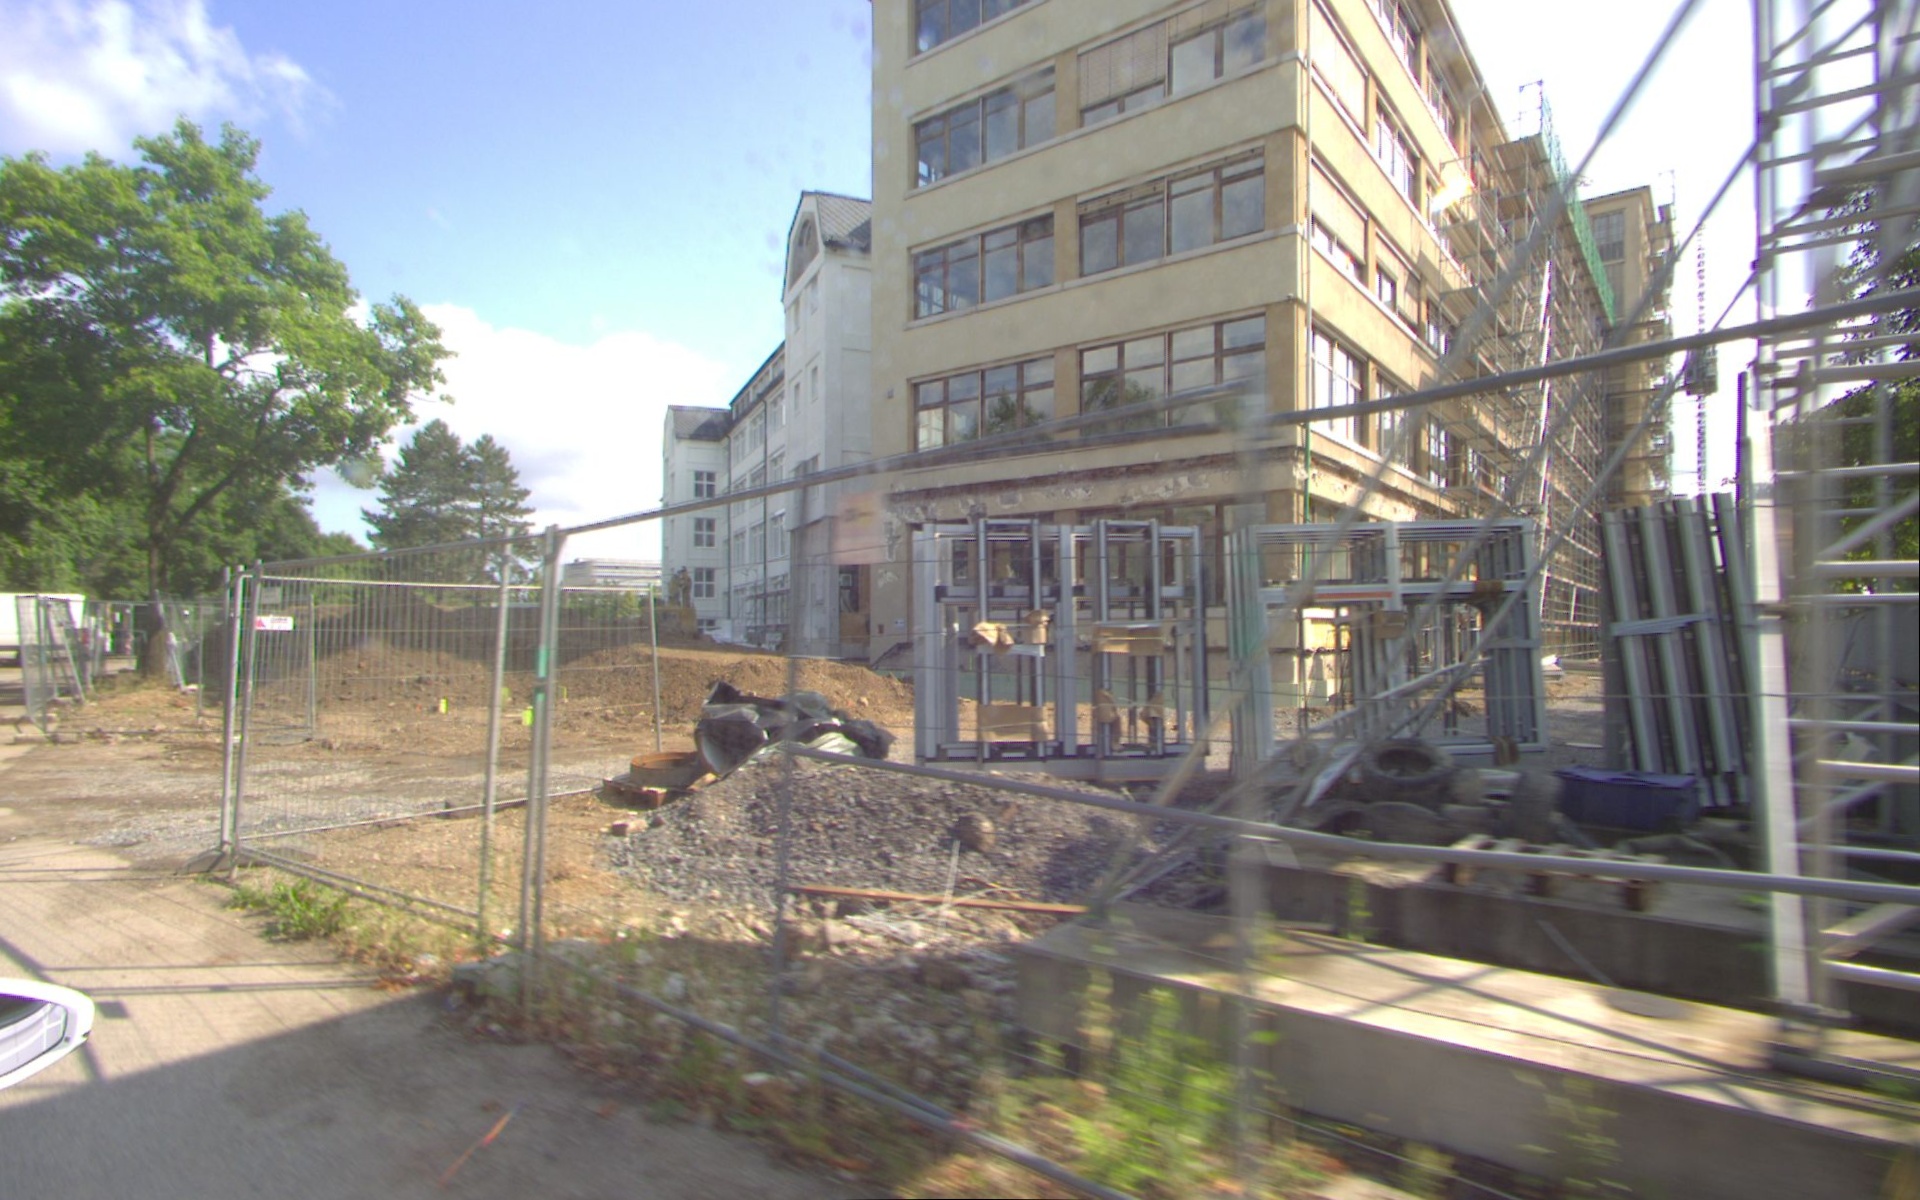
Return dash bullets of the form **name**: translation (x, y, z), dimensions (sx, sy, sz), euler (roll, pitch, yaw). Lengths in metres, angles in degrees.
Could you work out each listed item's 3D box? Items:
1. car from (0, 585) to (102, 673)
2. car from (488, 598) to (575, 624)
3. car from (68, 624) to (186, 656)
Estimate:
- **car**: translation (-34.995, 1.003, 35.438), dimensions (6.901, 3.085, 1.983), euler (3, -3, -40)
- **car**: translation (-26.054, 0.685, 61.013), dimensions (4.790, 1.445, 1.840), euler (1, -4, -23)
- **car**: translation (-39.673, 1.948, 47.812), dimensions (3.940, 1.445, 1.838), euler (2, -4, -27)
